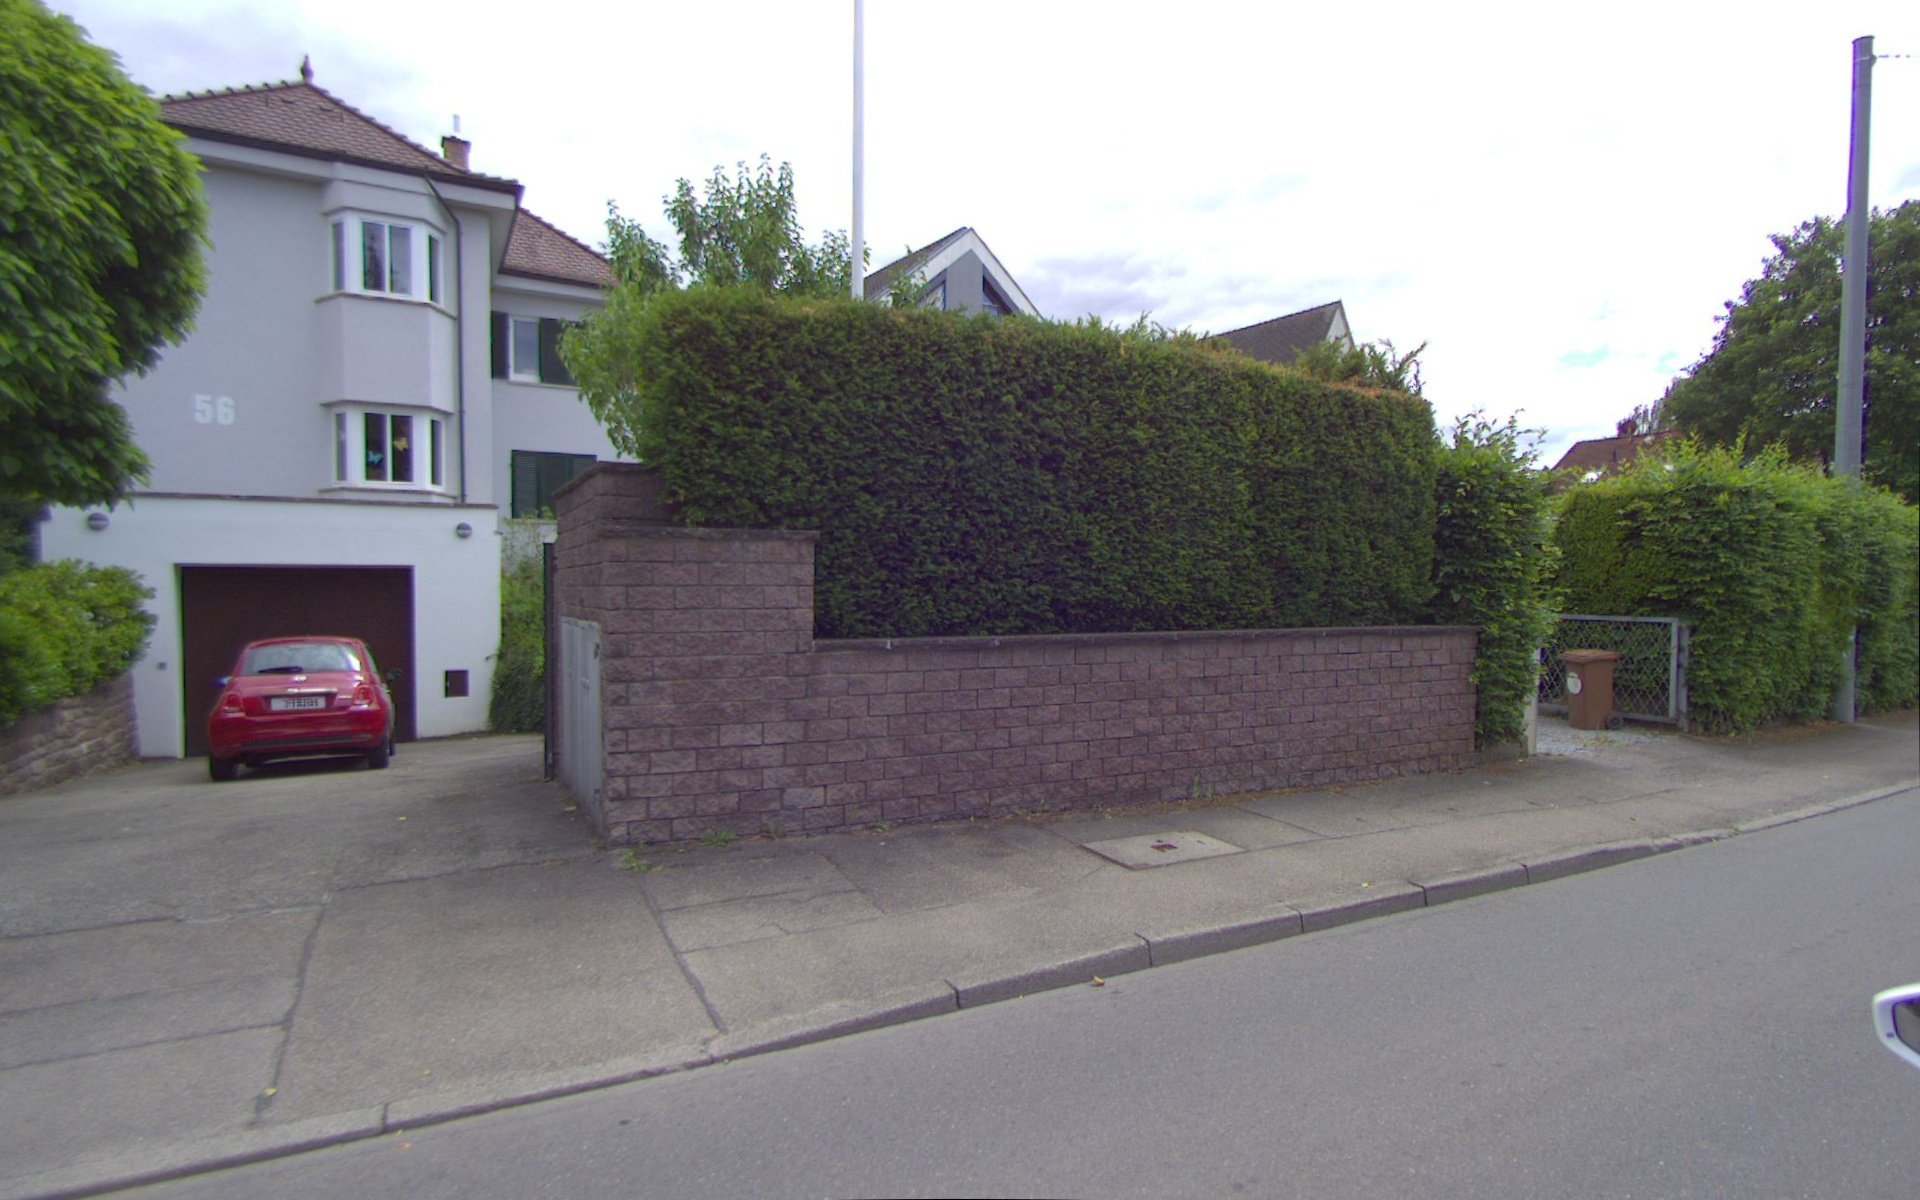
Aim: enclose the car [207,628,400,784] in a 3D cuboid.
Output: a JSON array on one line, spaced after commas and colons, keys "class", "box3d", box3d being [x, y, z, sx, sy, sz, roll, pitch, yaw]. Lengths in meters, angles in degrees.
[{"class": "car", "box3d": [-7.390, 1.162, 11.547, 1.591, 1.510, 2.842, 0, -4, -28]}]
